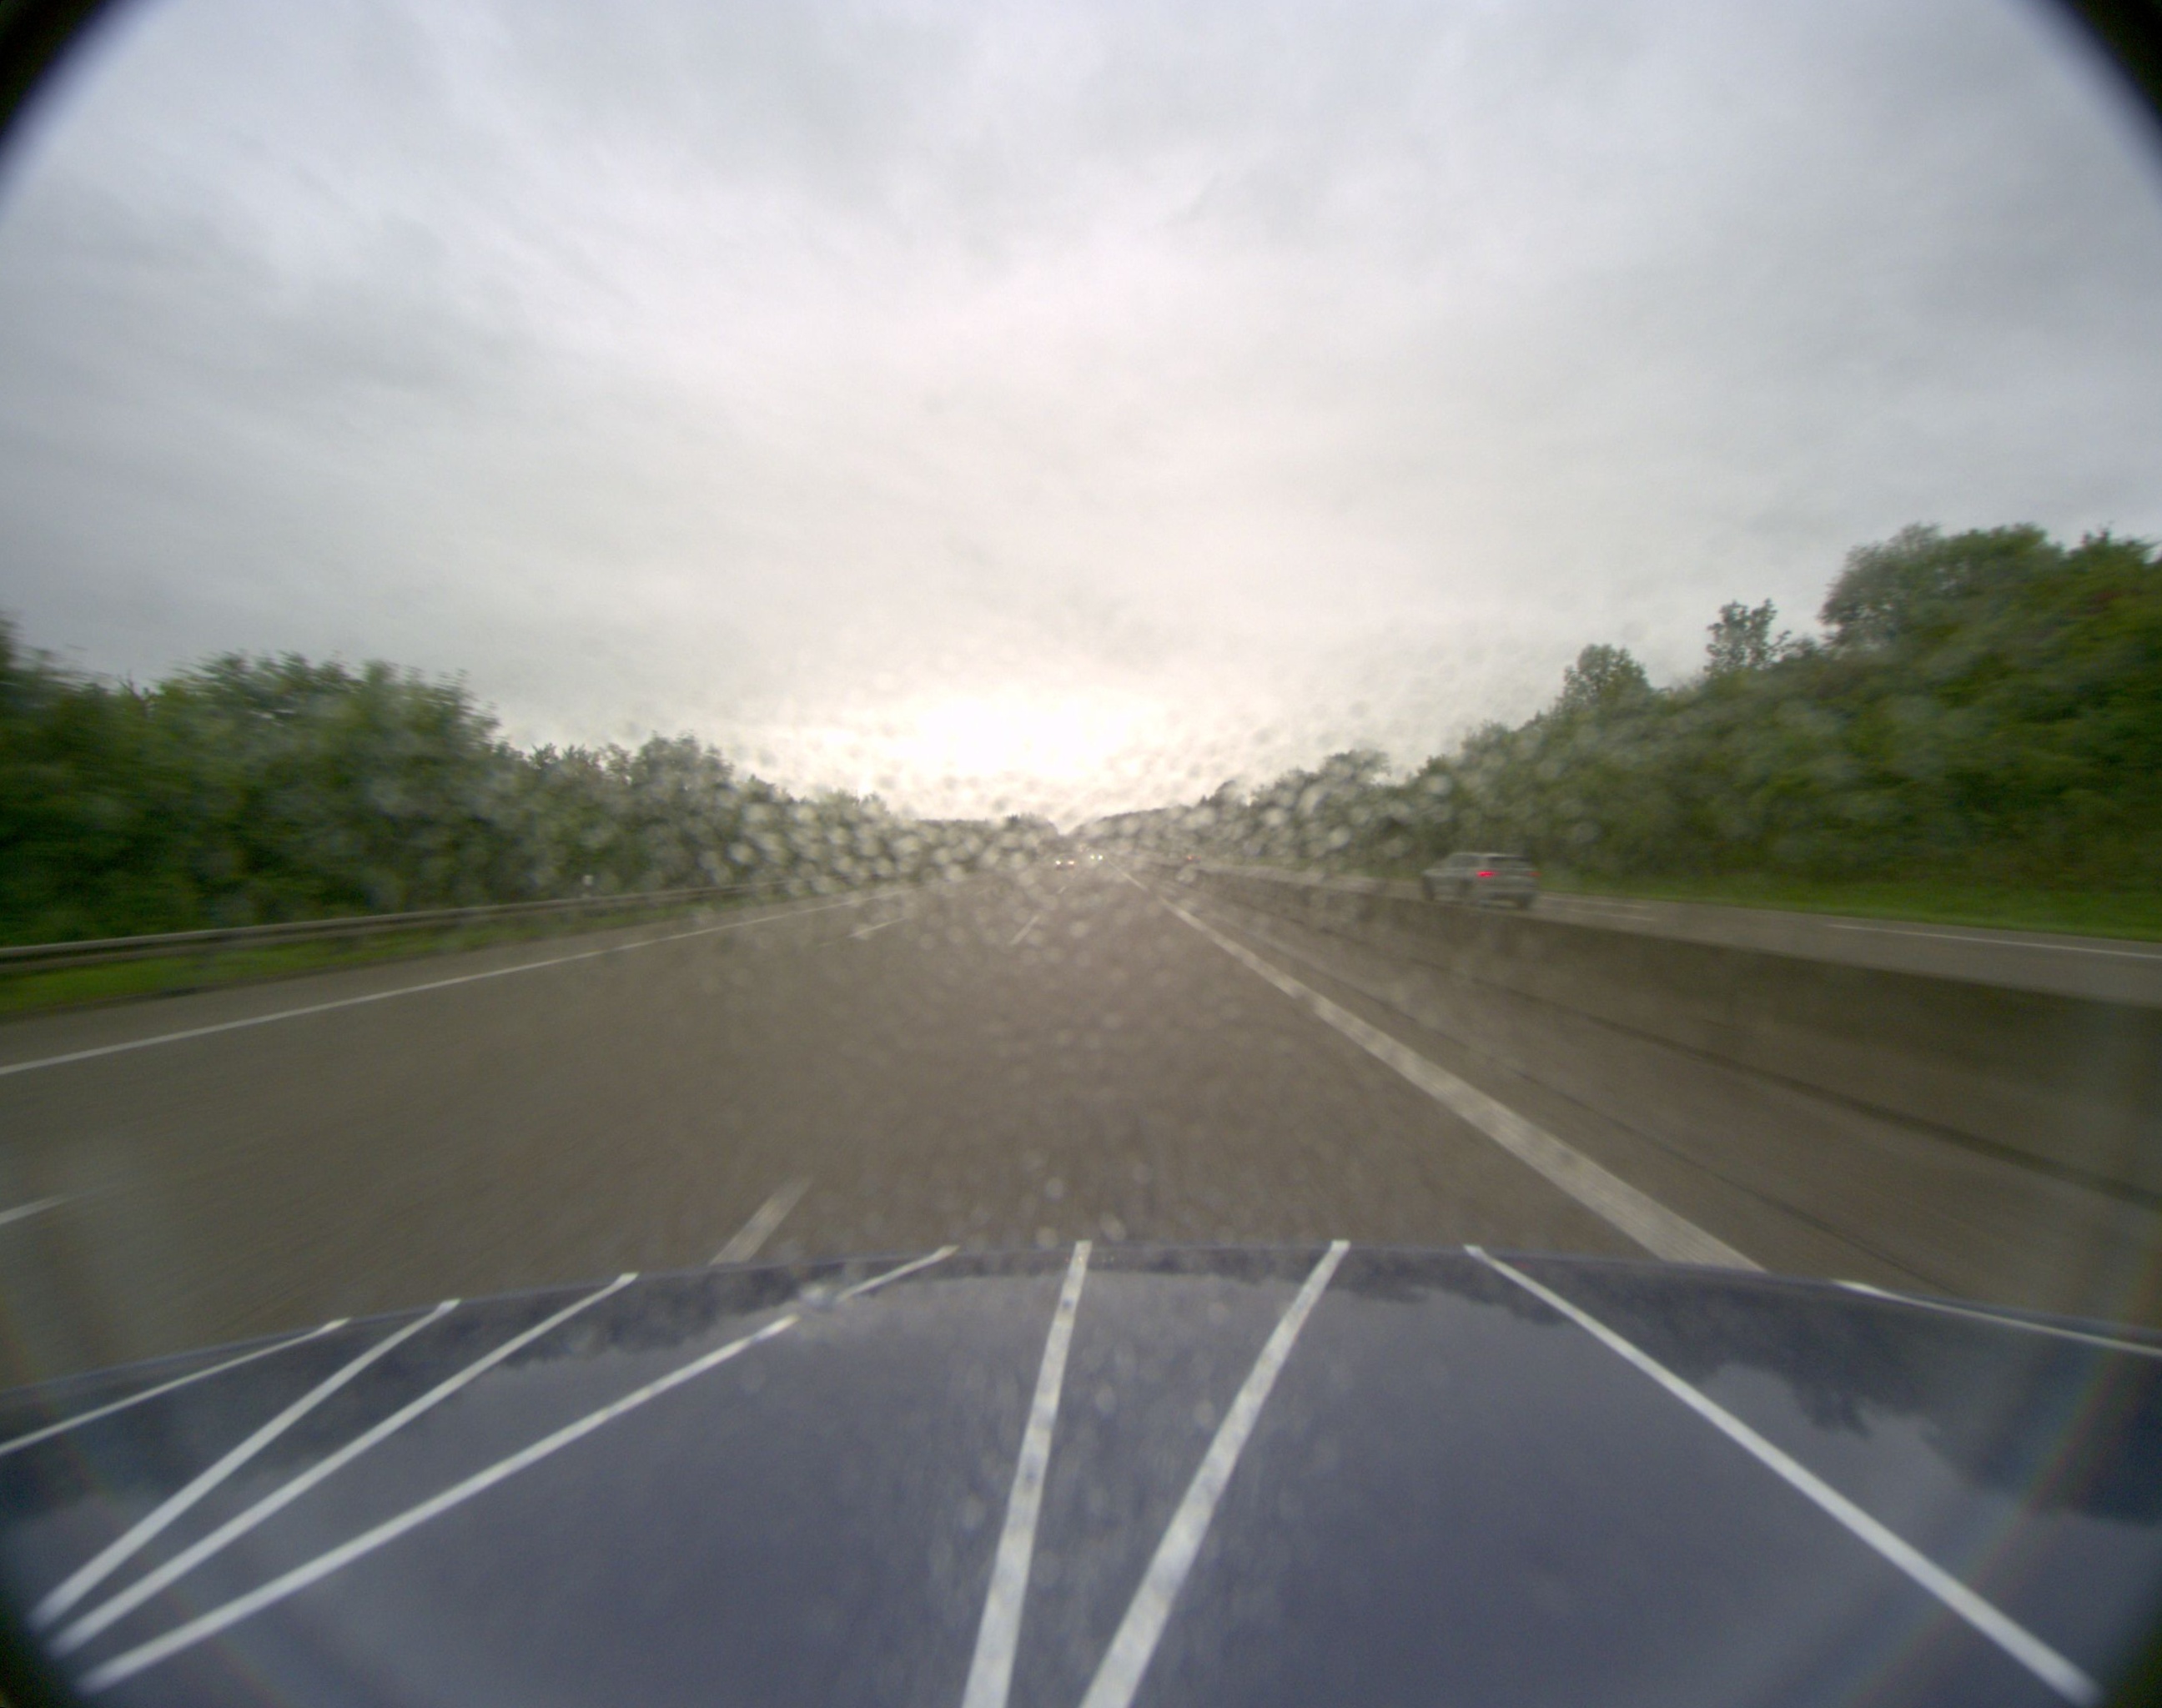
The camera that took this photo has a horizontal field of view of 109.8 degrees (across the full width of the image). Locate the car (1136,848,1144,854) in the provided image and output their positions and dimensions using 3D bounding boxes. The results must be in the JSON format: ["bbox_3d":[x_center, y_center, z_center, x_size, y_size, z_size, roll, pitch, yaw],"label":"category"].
[{"bbox_3d":[19.187,-1.016,247.071,1.999,2.002,5.760,0,0,0],"label":"car"}]

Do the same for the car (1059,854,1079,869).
[{"bbox_3d":[-1.253,0.731,79.358,1.932,1.521,4.298,0,0,2],"label":"car"}]

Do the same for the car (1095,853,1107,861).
[{"bbox_3d":[3.538,0.527,135.439,2.009,1.455,4.000,0,1,3],"label":"car"}]

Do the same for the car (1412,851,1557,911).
[{"bbox_3d":[12.449,0.754,23.877,1.998,1.678,4.916,0,1,1],"label":"car"}]

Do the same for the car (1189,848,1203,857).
[{"bbox_3d":[18.415,-0.272,121.596,1.802,1.377,4.469,0,1,3],"label":"car"}]

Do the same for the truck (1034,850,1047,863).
[{"bbox_3d":[-12.942,0.692,241.200,3.243,3.873,12.024,-1,1,1],"label":"truck"}]

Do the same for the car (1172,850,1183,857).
[{"bbox_3d":[20.521,-0.027,161.379,1.802,1.442,4.629,0,0,1],"label":"car"}]
